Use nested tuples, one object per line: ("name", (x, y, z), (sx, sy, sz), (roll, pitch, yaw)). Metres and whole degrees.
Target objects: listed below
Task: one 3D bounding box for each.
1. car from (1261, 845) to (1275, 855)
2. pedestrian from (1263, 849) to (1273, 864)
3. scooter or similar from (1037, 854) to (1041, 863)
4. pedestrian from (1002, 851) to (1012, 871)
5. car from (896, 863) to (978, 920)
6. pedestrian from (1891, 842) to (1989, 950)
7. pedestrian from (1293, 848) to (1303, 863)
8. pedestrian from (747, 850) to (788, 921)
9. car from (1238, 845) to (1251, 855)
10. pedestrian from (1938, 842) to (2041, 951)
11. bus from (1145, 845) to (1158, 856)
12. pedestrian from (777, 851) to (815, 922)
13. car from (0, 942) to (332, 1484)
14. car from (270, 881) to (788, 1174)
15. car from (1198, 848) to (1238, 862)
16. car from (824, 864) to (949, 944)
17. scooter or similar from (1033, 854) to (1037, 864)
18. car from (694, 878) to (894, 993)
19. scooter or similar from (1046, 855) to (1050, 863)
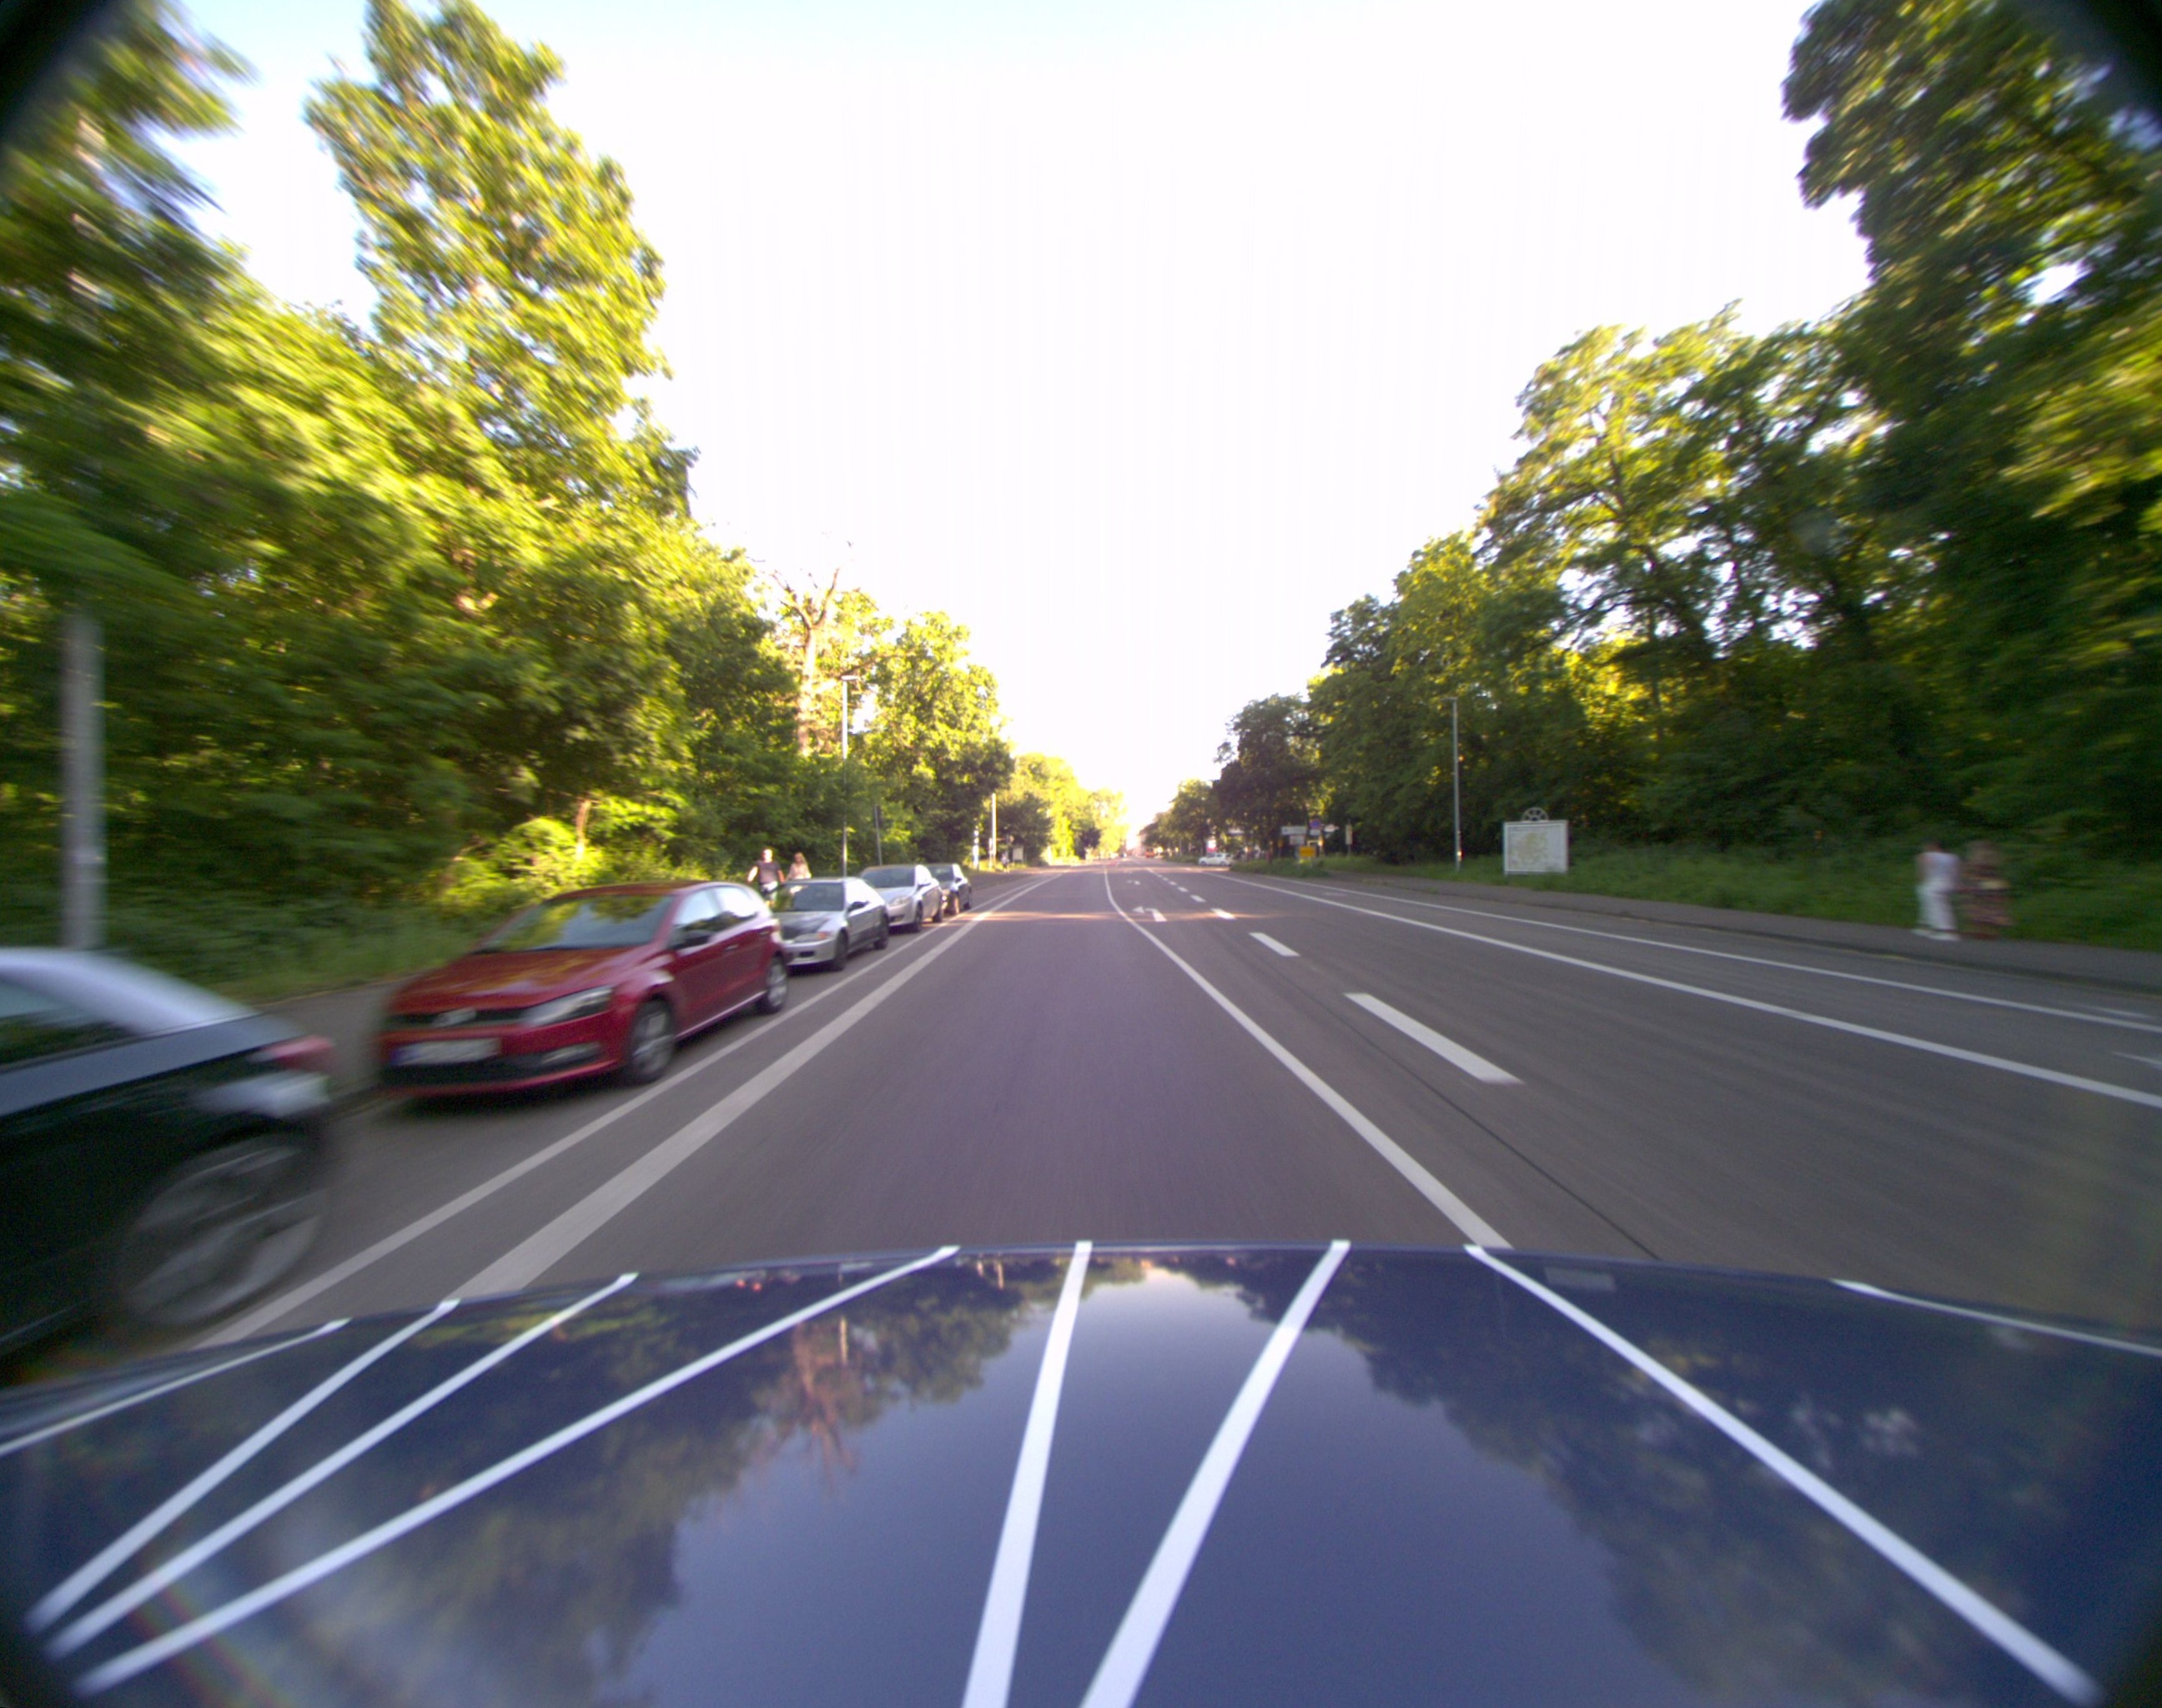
("car", (31.538, -0.733, 128.078), (1.758, 1.631, 3.838), (-1, 1, 4))
("pedestrian", (21.778, 0.286, 88.568), (0.738, 1.809, 0.832), (-1, 1, -34))
("scooter or similar", (-5.339, 0.559, 95.884), (0.386, 1.177, 1.103), (-1, 1, 3))
("pedestrian", (-6.743, 0.594, 69.216), (0.809, 1.789, 0.734), (-1, 1, 2))
("car", (-4.133, 1.037, 22.413), (1.661, 1.443, 4.019), (-1, 0, -1))
("pedestrian", (13.519, 0.643, 11.983), (0.676, 1.644, 0.790), (-1, 1, 7))
("pedestrian", (24.821, 0.174, 86.952), (0.832, 1.809, 0.738), (0, 1, 32))
("pedestrian", (-8.052, 0.785, 19.532), (0.676, 1.788, 0.953), (1, 1, -3))
("car", (27.906, -0.637, 129.816), (1.758, 1.631, 3.613), (-1, 1, 4))
("pedestrian", (14.202, 0.645, 11.898), (0.676, 1.644, 0.790), (-1, 1, 7))
("bus", (23.339, -1.083, 251.531), (3.038, 3.388, 9.479), (-1, 0, -2))
("pedestrian", (-7.370, 0.822, 19.687), (0.676, 1.788, 0.789), (1, 1, -3))
("car", (-3.806, 1.092, 1.132), (1.598, 1.393, 3.798), (-2, 0, -1))
("car", (-3.924, 1.074, 6.299), (1.621, 1.460, 3.723), (-3, 1, -3))
("car", (15.028, 0.135, 83.238), (3.932, 1.517, 1.834), (0, 1, 35))
("car", (-4.291, 1.034, 17.478), (1.741, 1.516, 4.359), (-1, 0, 0))
("scooter or similar", (-5.624, 0.610, 92.986), (0.386, 1.177, 1.188), (-1, 1, 3))
("car", (-4.226, 1.129, 11.854), (1.632, 1.312, 3.840), (-2, 0, 0))
("scooter or similar", (-4.546, 0.696, 104.930), (0.386, 1.177, 1.103), (-1, 1, 3))
